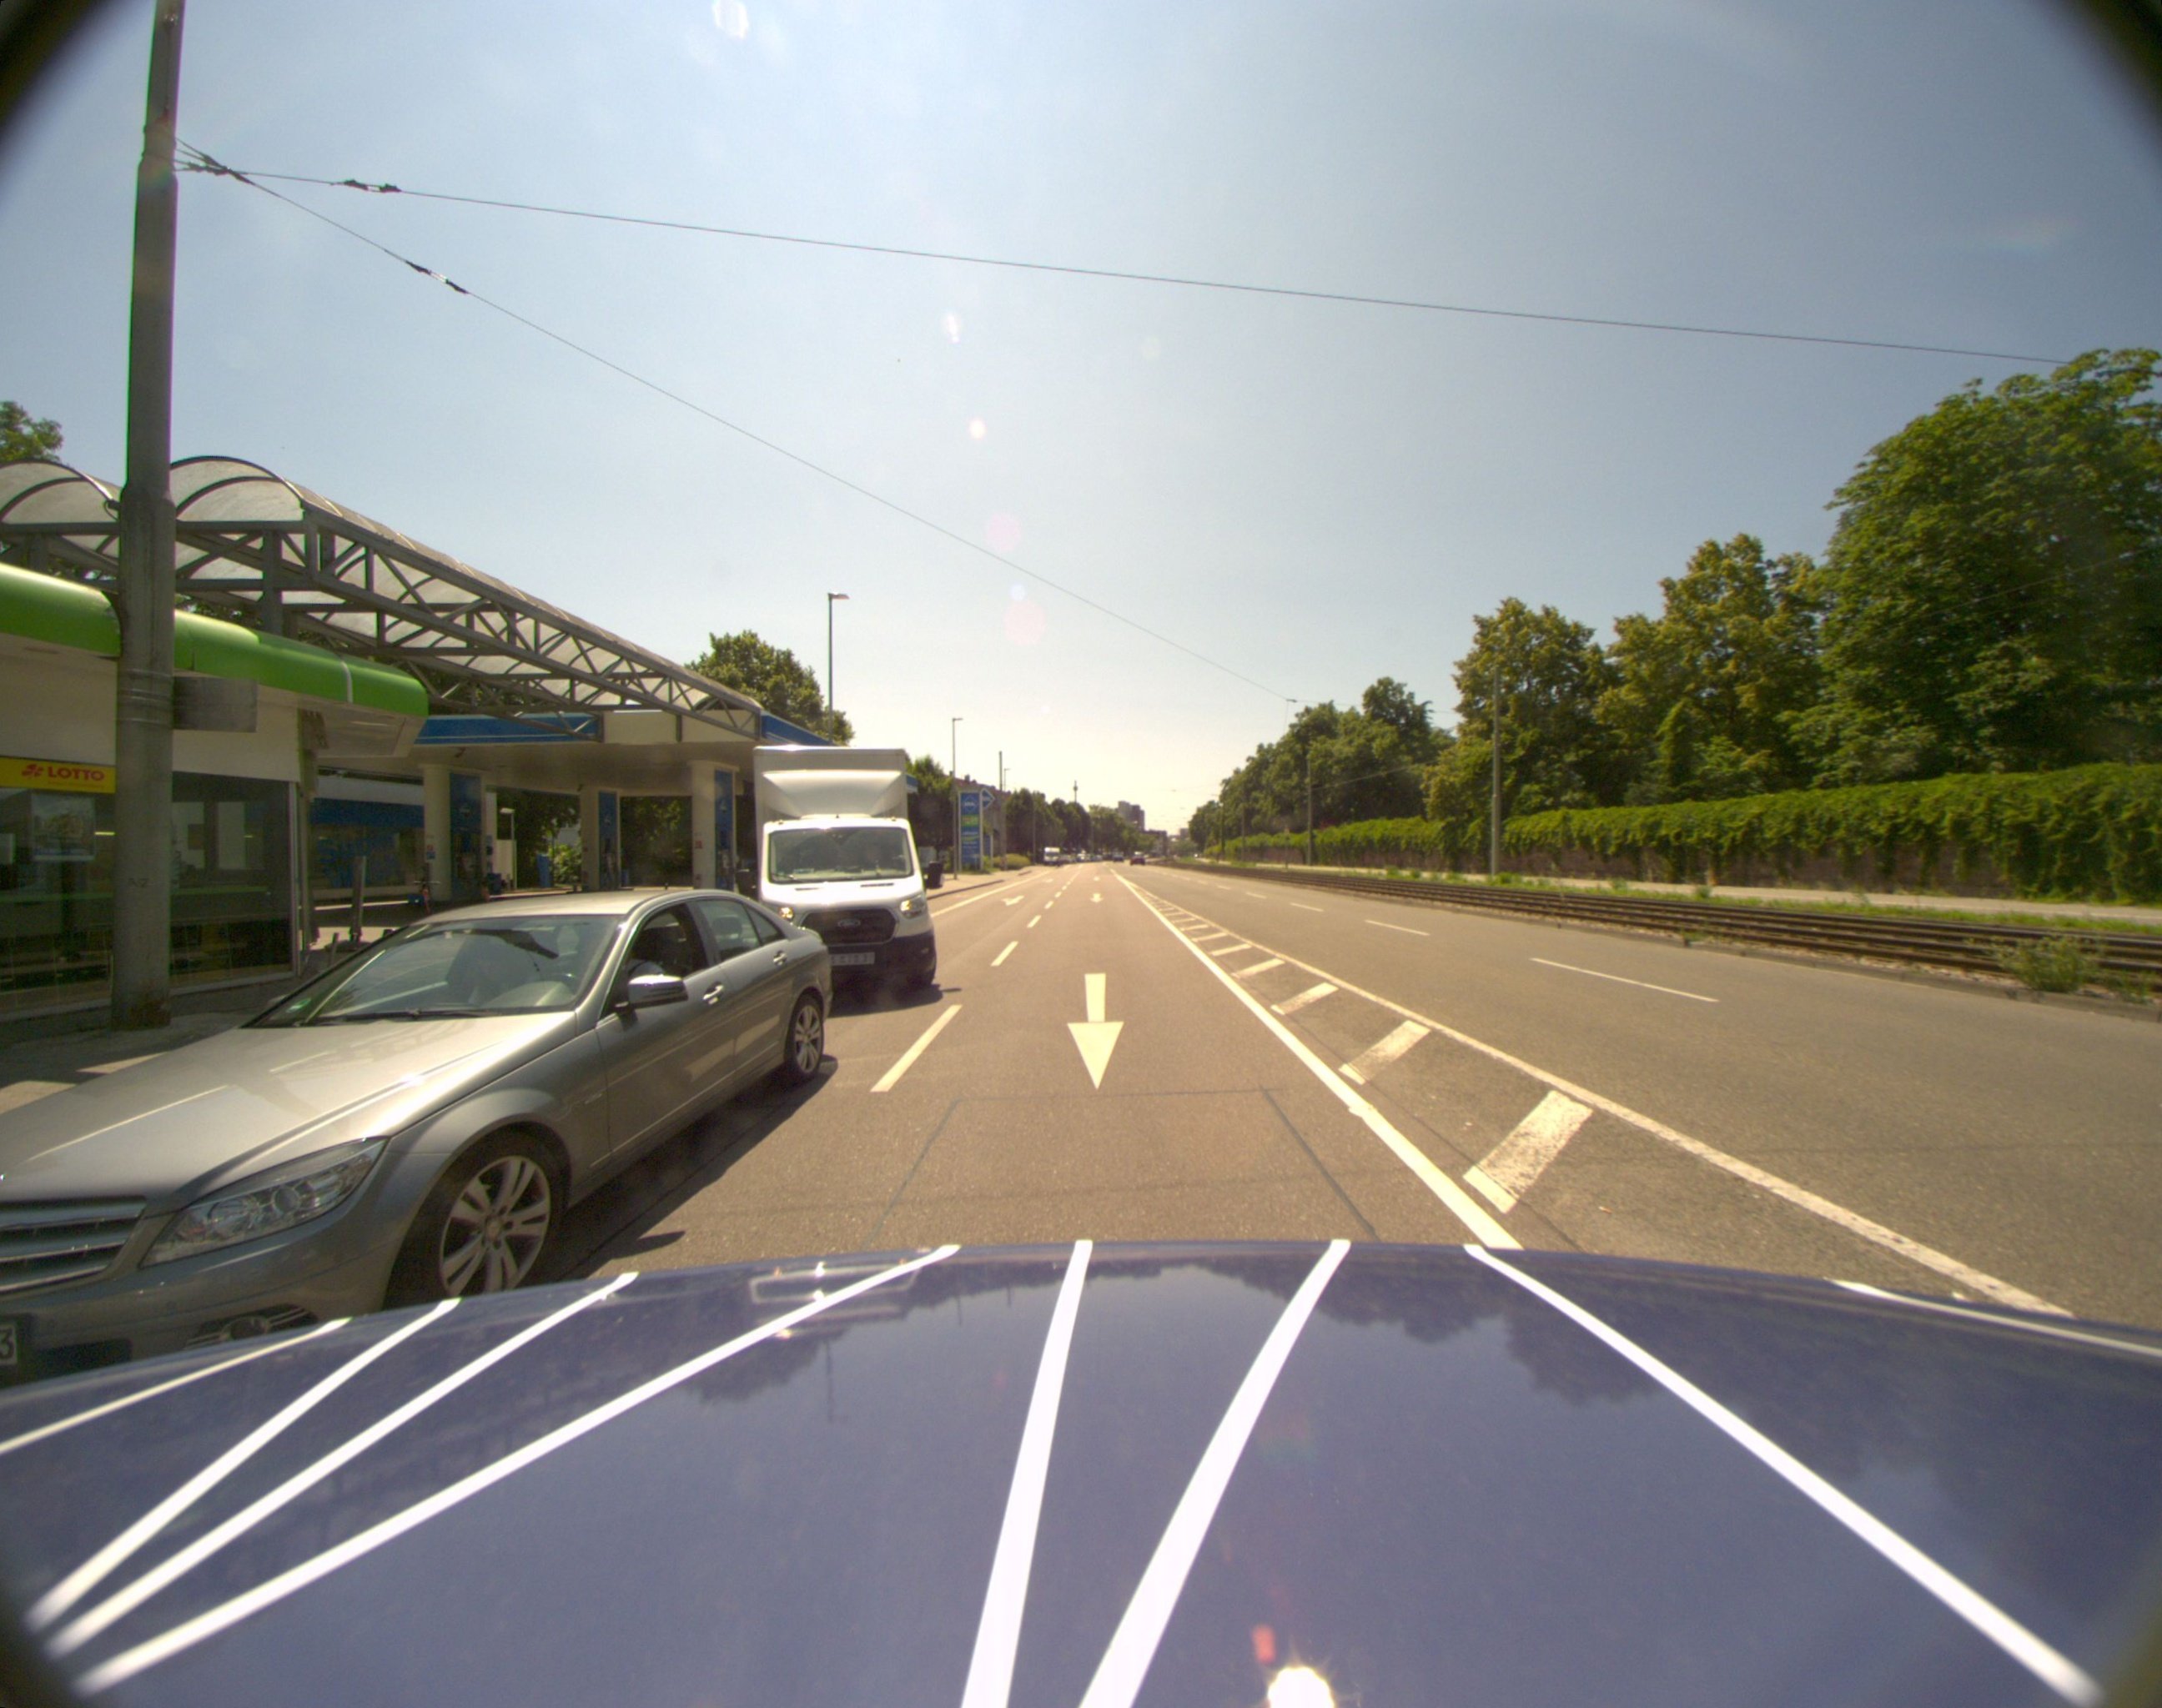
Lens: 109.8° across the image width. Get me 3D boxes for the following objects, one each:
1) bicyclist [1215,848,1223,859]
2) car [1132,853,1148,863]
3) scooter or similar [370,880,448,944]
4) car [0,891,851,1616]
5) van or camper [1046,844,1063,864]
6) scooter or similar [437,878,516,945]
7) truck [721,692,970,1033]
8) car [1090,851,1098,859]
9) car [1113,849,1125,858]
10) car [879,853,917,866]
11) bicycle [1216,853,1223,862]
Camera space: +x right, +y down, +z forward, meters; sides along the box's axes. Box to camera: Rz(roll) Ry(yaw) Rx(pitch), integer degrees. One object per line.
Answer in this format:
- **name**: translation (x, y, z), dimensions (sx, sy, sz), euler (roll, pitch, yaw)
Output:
- **bicyclist**: translation (19.182, -0.043, 105.452), dimensions (0.996, 1.477, 1.000), euler (-1, 1, 6)
- **car**: translation (7.951, 0.543, 102.183), dimensions (1.989, 1.350, 4.538), euler (-1, 0, 2)
- **scooter or similar**: translation (-12.846, 1.100, 14.538), dimensions (1.138, 1.170, 0.384), euler (-1, 1, 2)
- **car**: translation (-2.857, 1.045, 3.979), dimensions (1.800, 1.441, 4.418), euler (-1, 0, 2)
- **van or camper**: translation (-3.518, -0.022, 101.831), dimensions (2.126, 2.469, 5.993), euler (2, 0, 0)
- **scooter or similar**: translation (-11.559, 1.095, 14.539), dimensions (1.176, 1.233, 0.412), euler (-1, 1, 2)
- **truck**: translation (-3.843, 0.076, 11.599), dimensions (2.430, 3.372, 7.818), euler (-1, 0, -22)
- **car**: translation (2.874, 0.183, 170.584), dimensions (1.806, 1.585, 4.000), euler (-1, 0, 1)
- **car**: translation (6.836, -0.127, 136.808), dimensions (1.998, 1.608, 4.000), euler (-1, 0, 1)
- **car**: translation (-23.228, 0.703, 96.400), dimensions (4.221, 1.512, 2.001), euler (-1, 0, 9)
- **bicycle**: translation (19.214, 0.456, 105.521), dimensions (0.830, 1.149, 2.686), euler (-1, 0, 6)
